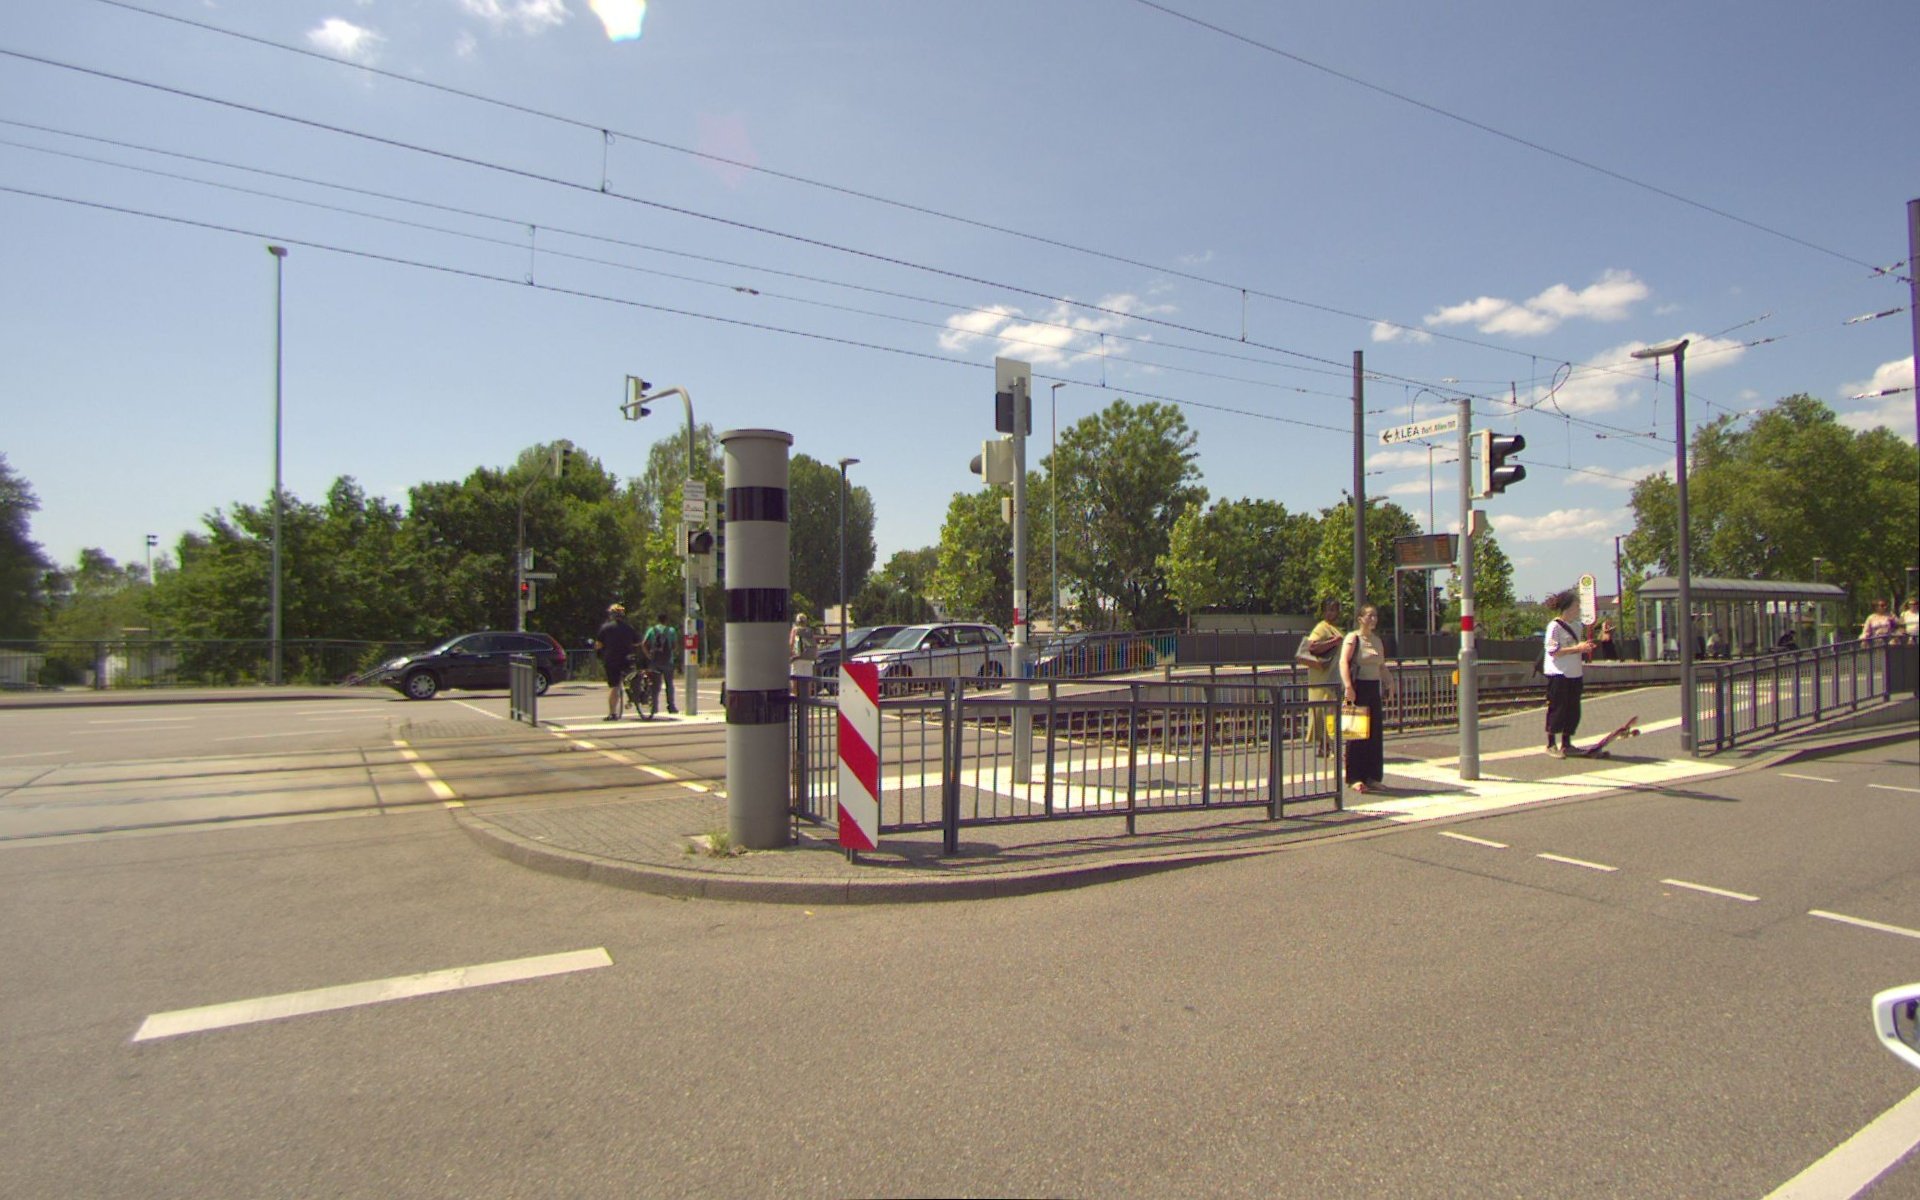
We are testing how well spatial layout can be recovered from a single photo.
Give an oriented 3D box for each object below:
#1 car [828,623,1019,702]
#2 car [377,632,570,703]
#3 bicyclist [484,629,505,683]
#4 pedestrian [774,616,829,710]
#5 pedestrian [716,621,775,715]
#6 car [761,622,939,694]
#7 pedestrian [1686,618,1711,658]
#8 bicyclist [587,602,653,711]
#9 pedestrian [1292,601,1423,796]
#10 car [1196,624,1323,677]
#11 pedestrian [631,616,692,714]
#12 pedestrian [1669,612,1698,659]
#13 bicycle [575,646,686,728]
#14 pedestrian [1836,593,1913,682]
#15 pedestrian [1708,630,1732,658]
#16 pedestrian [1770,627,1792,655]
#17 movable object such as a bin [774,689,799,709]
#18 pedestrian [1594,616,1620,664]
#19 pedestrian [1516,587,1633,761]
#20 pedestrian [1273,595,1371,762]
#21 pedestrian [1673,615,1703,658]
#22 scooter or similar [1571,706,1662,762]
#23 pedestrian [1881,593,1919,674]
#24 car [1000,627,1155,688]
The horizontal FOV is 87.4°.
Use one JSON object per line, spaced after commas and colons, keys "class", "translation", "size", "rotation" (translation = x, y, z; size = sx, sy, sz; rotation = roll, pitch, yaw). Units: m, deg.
{"class": "car", "translation": [-0.817, 1.361, 23.044], "size": [3.955, 1.650, 1.983], "rotation": [1, -1, -32]}
{"class": "car", "translation": [-12.550, 1.665, 25.980], "size": [4.264, 1.651, 1.981], "rotation": [1, -1, -34]}
{"class": "bicyclist", "translation": [-14.125, 1.685, 30.479], "size": [0.537, 1.631, 0.583], "rotation": [1, -1, -26]}
{"class": "pedestrian", "translation": [-2.939, 1.141, 18.615], "size": [0.756, 1.694, 0.757], "rotation": [1, -1, -35]}
{"class": "pedestrian", "translation": [-3.709, 1.152, 17.372], "size": [0.756, 1.569, 0.757], "rotation": [1, -1, -35]}
{"class": "car", "translation": [-2.716, 1.385, 24.984], "size": [3.956, 1.650, 1.983], "rotation": [1, -1, -32]}
{"class": "pedestrian", "translation": [28.763, 1.474, 39.137], "size": [0.632, 1.553, 0.573], "rotation": [1, -1, -32]}
{"class": "bicyclist", "translation": [-5.262, 0.854, 15.549], "size": [0.656, 1.636, 0.730], "rotation": [0, -1, 41]}
{"class": "pedestrian", "translation": [3.454, 0.812, 8.744], "size": [0.757, 1.593, 0.780], "rotation": [1, -1, -36]}
{"class": "car", "translation": [10.067, 1.661, 33.694], "size": [3.956, 1.650, 1.983], "rotation": [1, -1, -32]}
{"class": "pedestrian", "translation": [-5.187, 1.104, 17.456], "size": [0.756, 1.631, 0.950], "rotation": [1, -1, -35]}
{"class": "pedestrian", "translation": [27.106, 1.315, 37.659], "size": [0.567, 1.752, 0.739], "rotation": [0, -1, 4]}
{"class": "bicycle", "translation": [-5.107, 1.307, 15.516], "size": [1.950, 1.115, 0.760], "rotation": [0, -1, 42]}
{"class": "pedestrian", "translation": [17.386, 0.700, 19.101], "size": [0.914, 1.626, 0.885], "rotation": [1, -1, -34]}
{"class": "pedestrian", "translation": [30.353, 1.745, 40.098], "size": [0.632, 1.109, 0.573], "rotation": [1, -1, -32]}
{"class": "pedestrian", "translation": [36.416, 1.805, 44.539], "size": [0.632, 1.206, 0.573], "rotation": [1, -1, -32]}
{"class": "movable object such as a bin", "translation": [-3.125, 1.777, 18.102], "size": [0.227, 0.325, 0.566], "rotation": [1, -2, -36]}
{"class": "pedestrian", "translation": [22.609, 1.384, 35.076], "size": [0.800, 1.659, 0.552], "rotation": [1, -1, -40]}
{"class": "pedestrian", "translation": [6.833, 0.788, 11.176], "size": [0.875, 1.826, 0.856], "rotation": [1, -1, -37]}
{"class": "pedestrian", "translation": [3.858, 0.805, 10.711], "size": [0.672, 1.695, 0.727], "rotation": [1, -1, -36]}
{"class": "pedestrian", "translation": [28.090, 1.400, 38.777], "size": [0.567, 1.660, 0.829], "rotation": [0, -1, 4]}
{"class": "scooter or similar", "translation": [7.136, 1.444, 10.928], "size": [0.453, 0.512, 0.721], "rotation": [1, -1, -36]}
{"class": "pedestrian", "translation": [20.231, 0.717, 21.501], "size": [0.712, 1.703, 0.609], "rotation": [1, -1, -35]}
{"class": "car", "translation": [3.453, 1.617, 29.307], "size": [4.233, 1.650, 1.983], "rotation": [1, -1, -32]}
